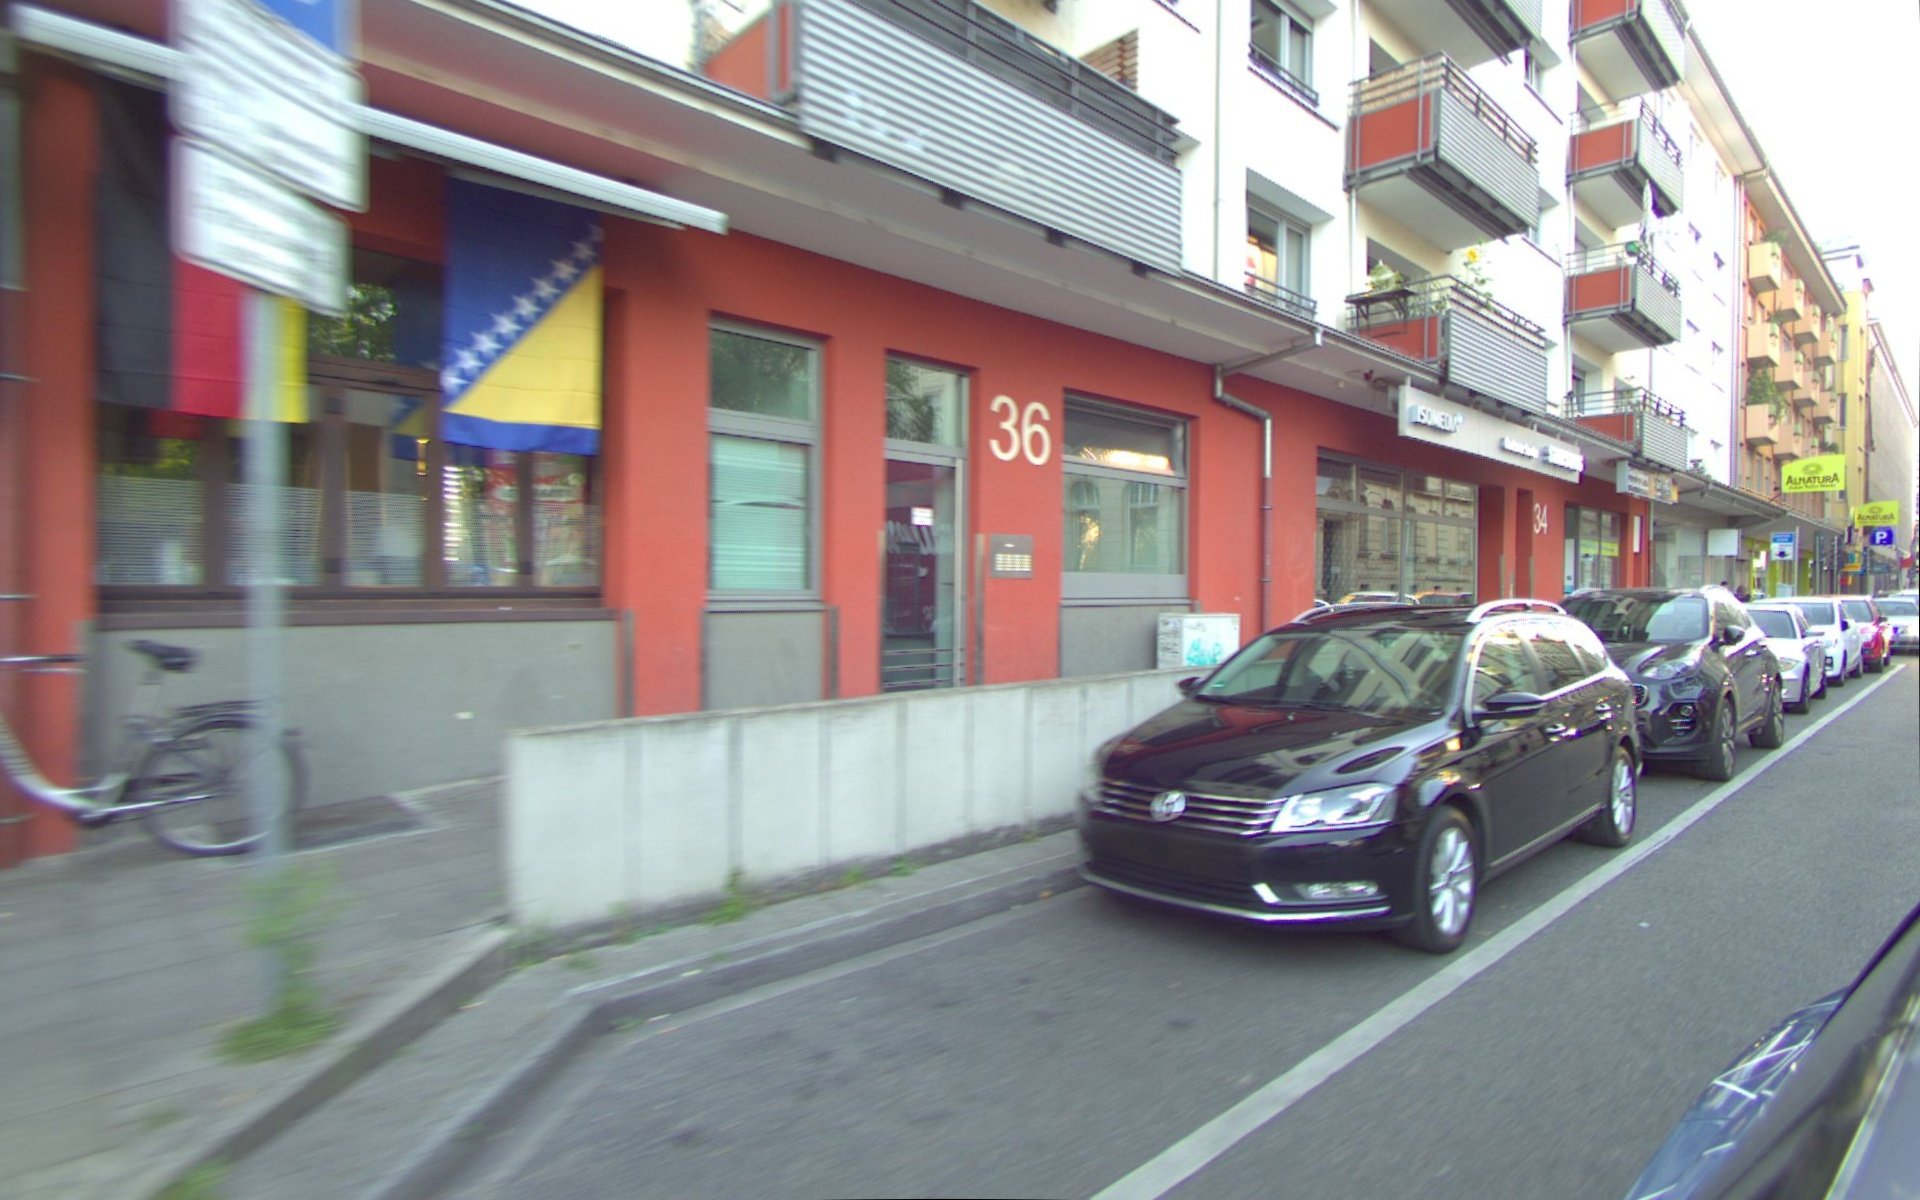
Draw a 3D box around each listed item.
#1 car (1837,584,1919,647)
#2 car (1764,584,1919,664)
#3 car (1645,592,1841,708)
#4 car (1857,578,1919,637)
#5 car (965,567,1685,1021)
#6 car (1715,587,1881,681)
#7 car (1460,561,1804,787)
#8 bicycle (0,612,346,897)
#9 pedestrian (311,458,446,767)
[{"bbox_3d":[24.013,0.350,25.827,4.226,1.496,1.895,0,0,-41],"label":"car"},{"bbox_3d":[18.278,0.441,20.921,4.318,1.496,1.865,0,0,-41],"label":"car"},{"bbox_3d":[11.192,0.603,14.369,1.748,1.421,3.903,-1,0,44],"label":"car"},{"bbox_3d":[28.105,0.209,29.695,4.288,1.637,1.998,0,0,-39],"label":"car"},{"bbox_3d":[2.345,0.665,5.733,4.550,1.572,1.876,0,0,-41],"label":"car"},{"bbox_3d":[14.999,0.532,18.053,3.881,1.496,1.765,0,0,-43],"label":"car"},{"bbox_3d":[6.627,0.557,9.807,4.068,1.721,1.880,0,0,-43],"label":"car"},{"bbox_3d":[-3.811,0.615,4.317,1.972,1.101,0.549,0,-1,-44],"label":"bicycle"},{"bbox_3d":[-4.129,0.077,7.183,0.798,2.039,0.670,0,0,-33],"label":"pedestrian"}]
